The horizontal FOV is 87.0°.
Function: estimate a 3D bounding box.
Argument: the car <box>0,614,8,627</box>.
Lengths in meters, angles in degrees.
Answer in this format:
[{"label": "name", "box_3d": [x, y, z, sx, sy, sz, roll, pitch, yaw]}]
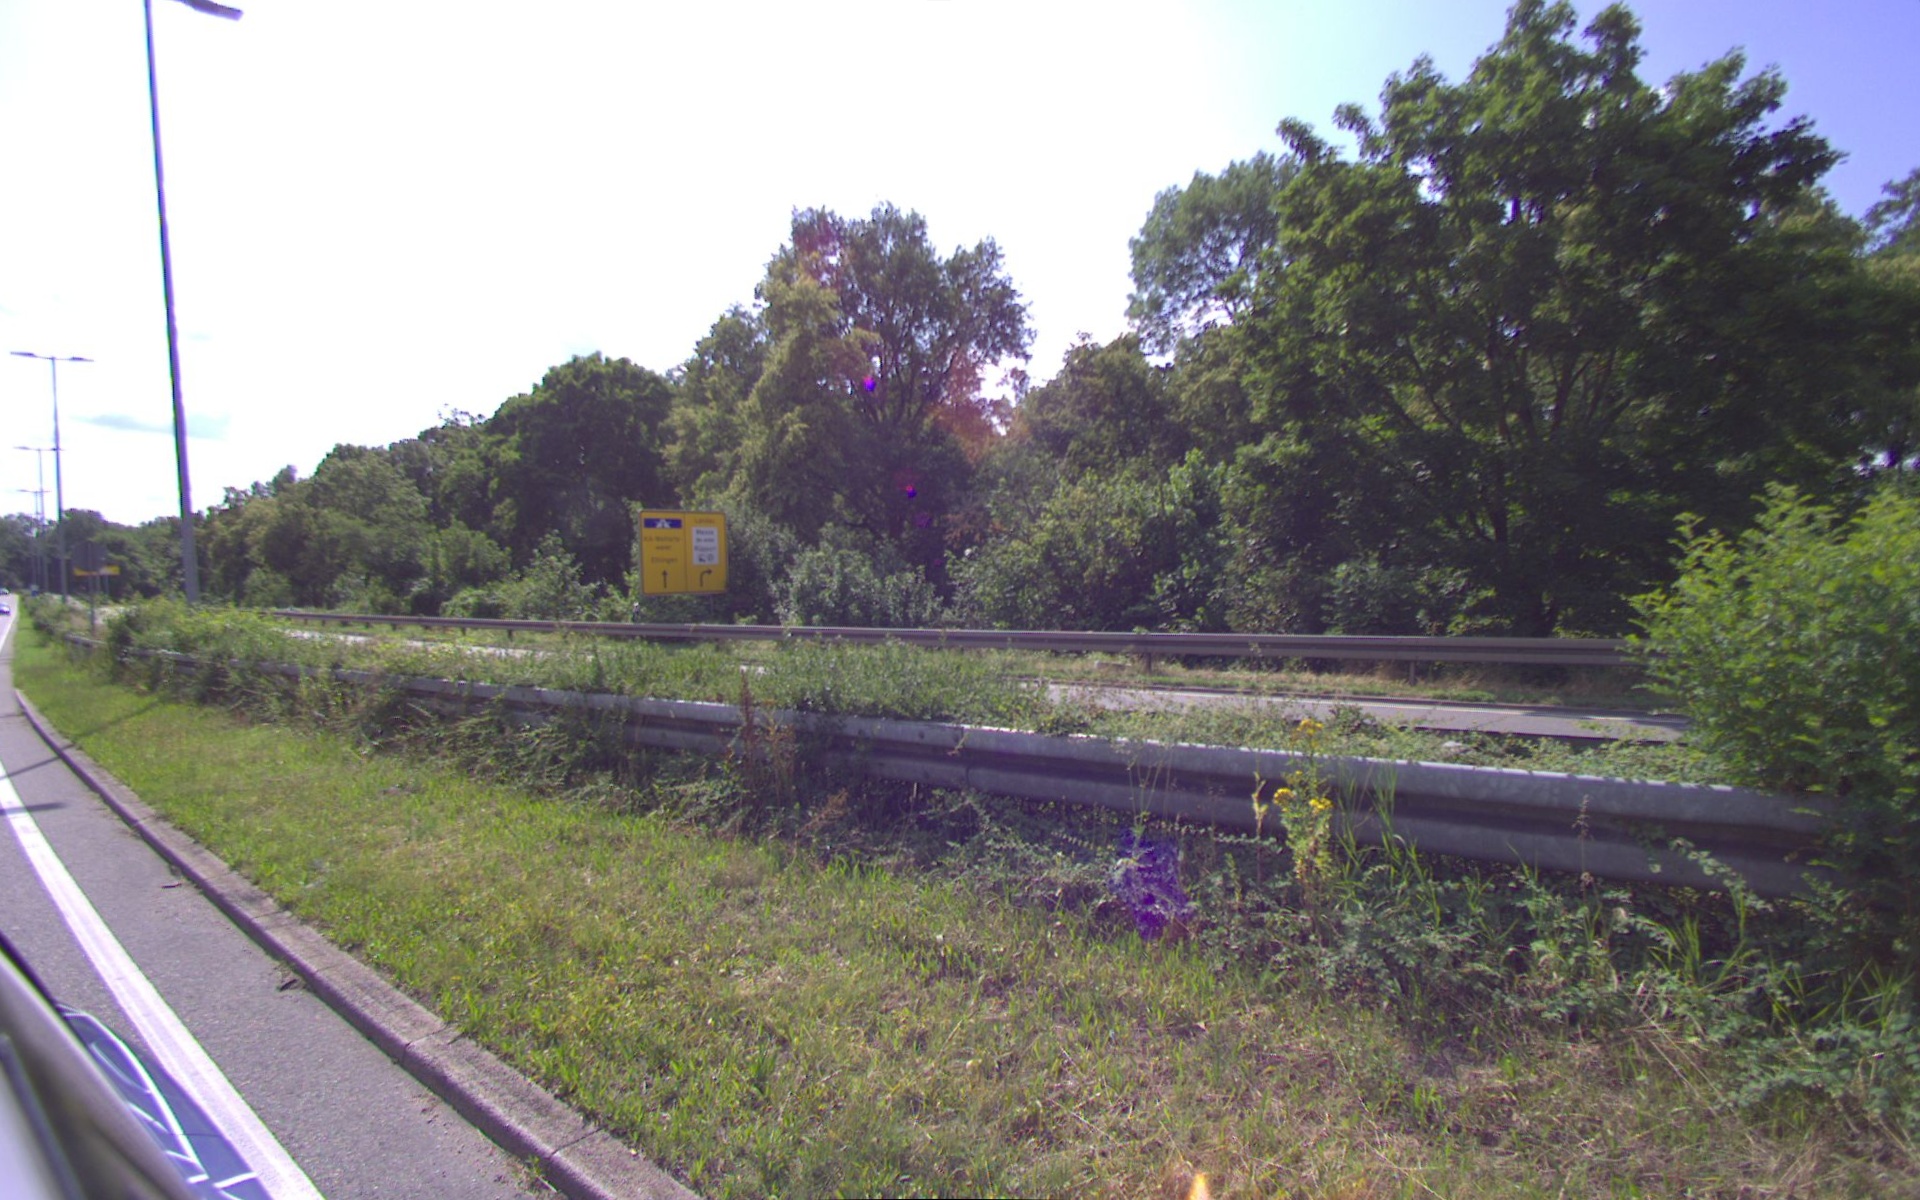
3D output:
[{"label": "car", "box_3d": [-104.887, 2.253, 110.090, 1.771, 1.386, 4.004, -2, 0, -42]}]
